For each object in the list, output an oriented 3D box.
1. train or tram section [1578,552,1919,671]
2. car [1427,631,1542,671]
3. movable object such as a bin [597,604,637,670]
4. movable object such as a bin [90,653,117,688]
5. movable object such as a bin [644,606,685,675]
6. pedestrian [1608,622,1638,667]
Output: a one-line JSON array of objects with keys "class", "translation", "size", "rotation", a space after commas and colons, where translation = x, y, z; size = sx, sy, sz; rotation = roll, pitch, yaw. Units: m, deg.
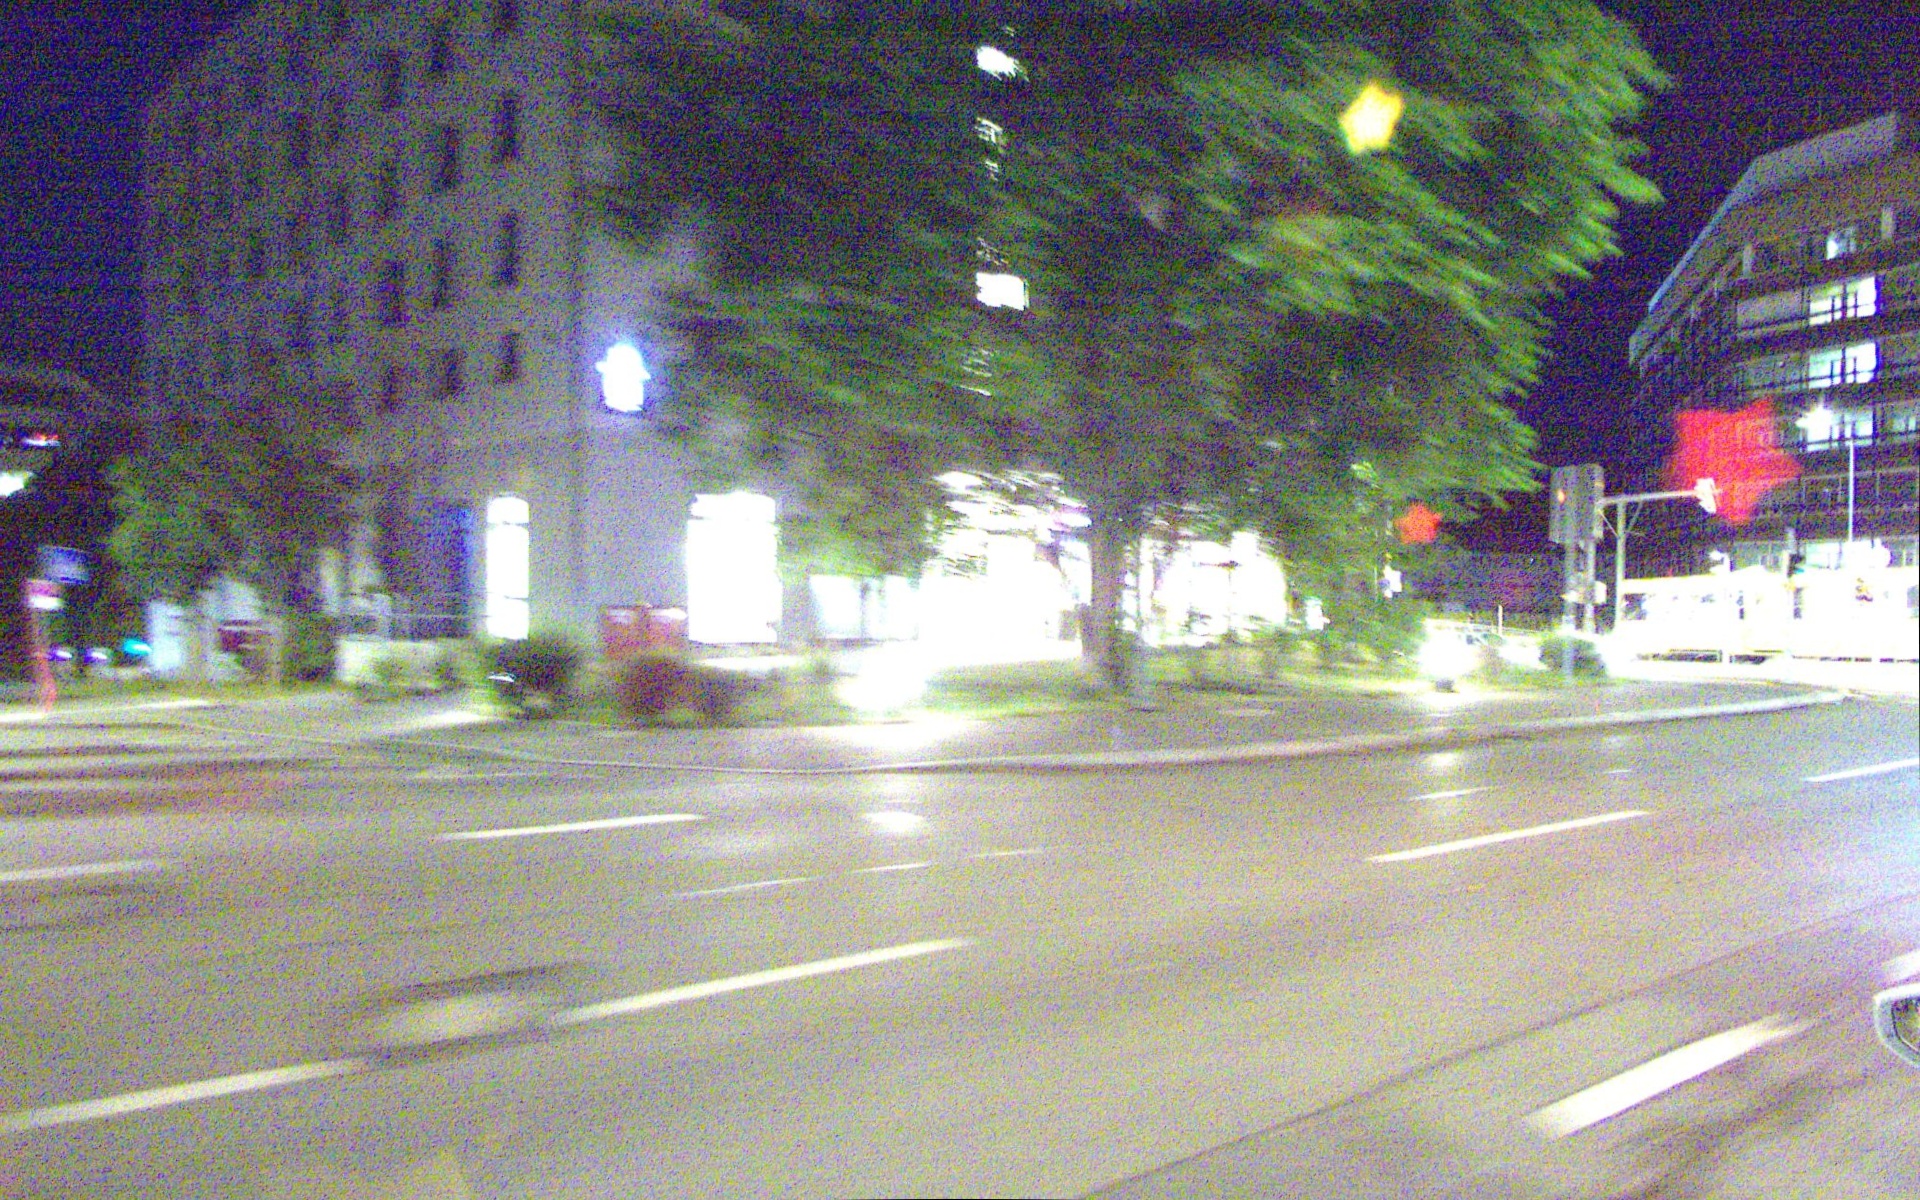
[{"class": "train or tram section", "translation": [32.194, 0.445, 35.311], "size": [2.899, 3.912, 19.747], "rotation": [1, -2, -23]}, {"class": "car", "translation": [20.633, 1.983, 39.665], "size": [1.881, 1.500, 3.755], "rotation": [1, -2, -22]}, {"class": "movable object such as a bin", "translation": [-7.418, 0.793, 21.725], "size": [0.723, 1.389, 0.355], "rotation": [-3, 0, -29]}, {"class": "movable object such as a bin", "translation": [-33.032, 2.726, 38.740], "size": [0.608, 1.324, 0.568], "rotation": [-2, -3, 22]}, {"class": "movable object such as a bin", "translation": [-6.487, 0.874, 22.036], "size": [0.798, 1.471, 0.439], "rotation": [0, -1, -27]}, {"class": "pedestrian", "translation": [26.608, 1.773, 40.333], "size": [0.651, 1.760, 0.761], "rotation": [0, -2, -29]}]
